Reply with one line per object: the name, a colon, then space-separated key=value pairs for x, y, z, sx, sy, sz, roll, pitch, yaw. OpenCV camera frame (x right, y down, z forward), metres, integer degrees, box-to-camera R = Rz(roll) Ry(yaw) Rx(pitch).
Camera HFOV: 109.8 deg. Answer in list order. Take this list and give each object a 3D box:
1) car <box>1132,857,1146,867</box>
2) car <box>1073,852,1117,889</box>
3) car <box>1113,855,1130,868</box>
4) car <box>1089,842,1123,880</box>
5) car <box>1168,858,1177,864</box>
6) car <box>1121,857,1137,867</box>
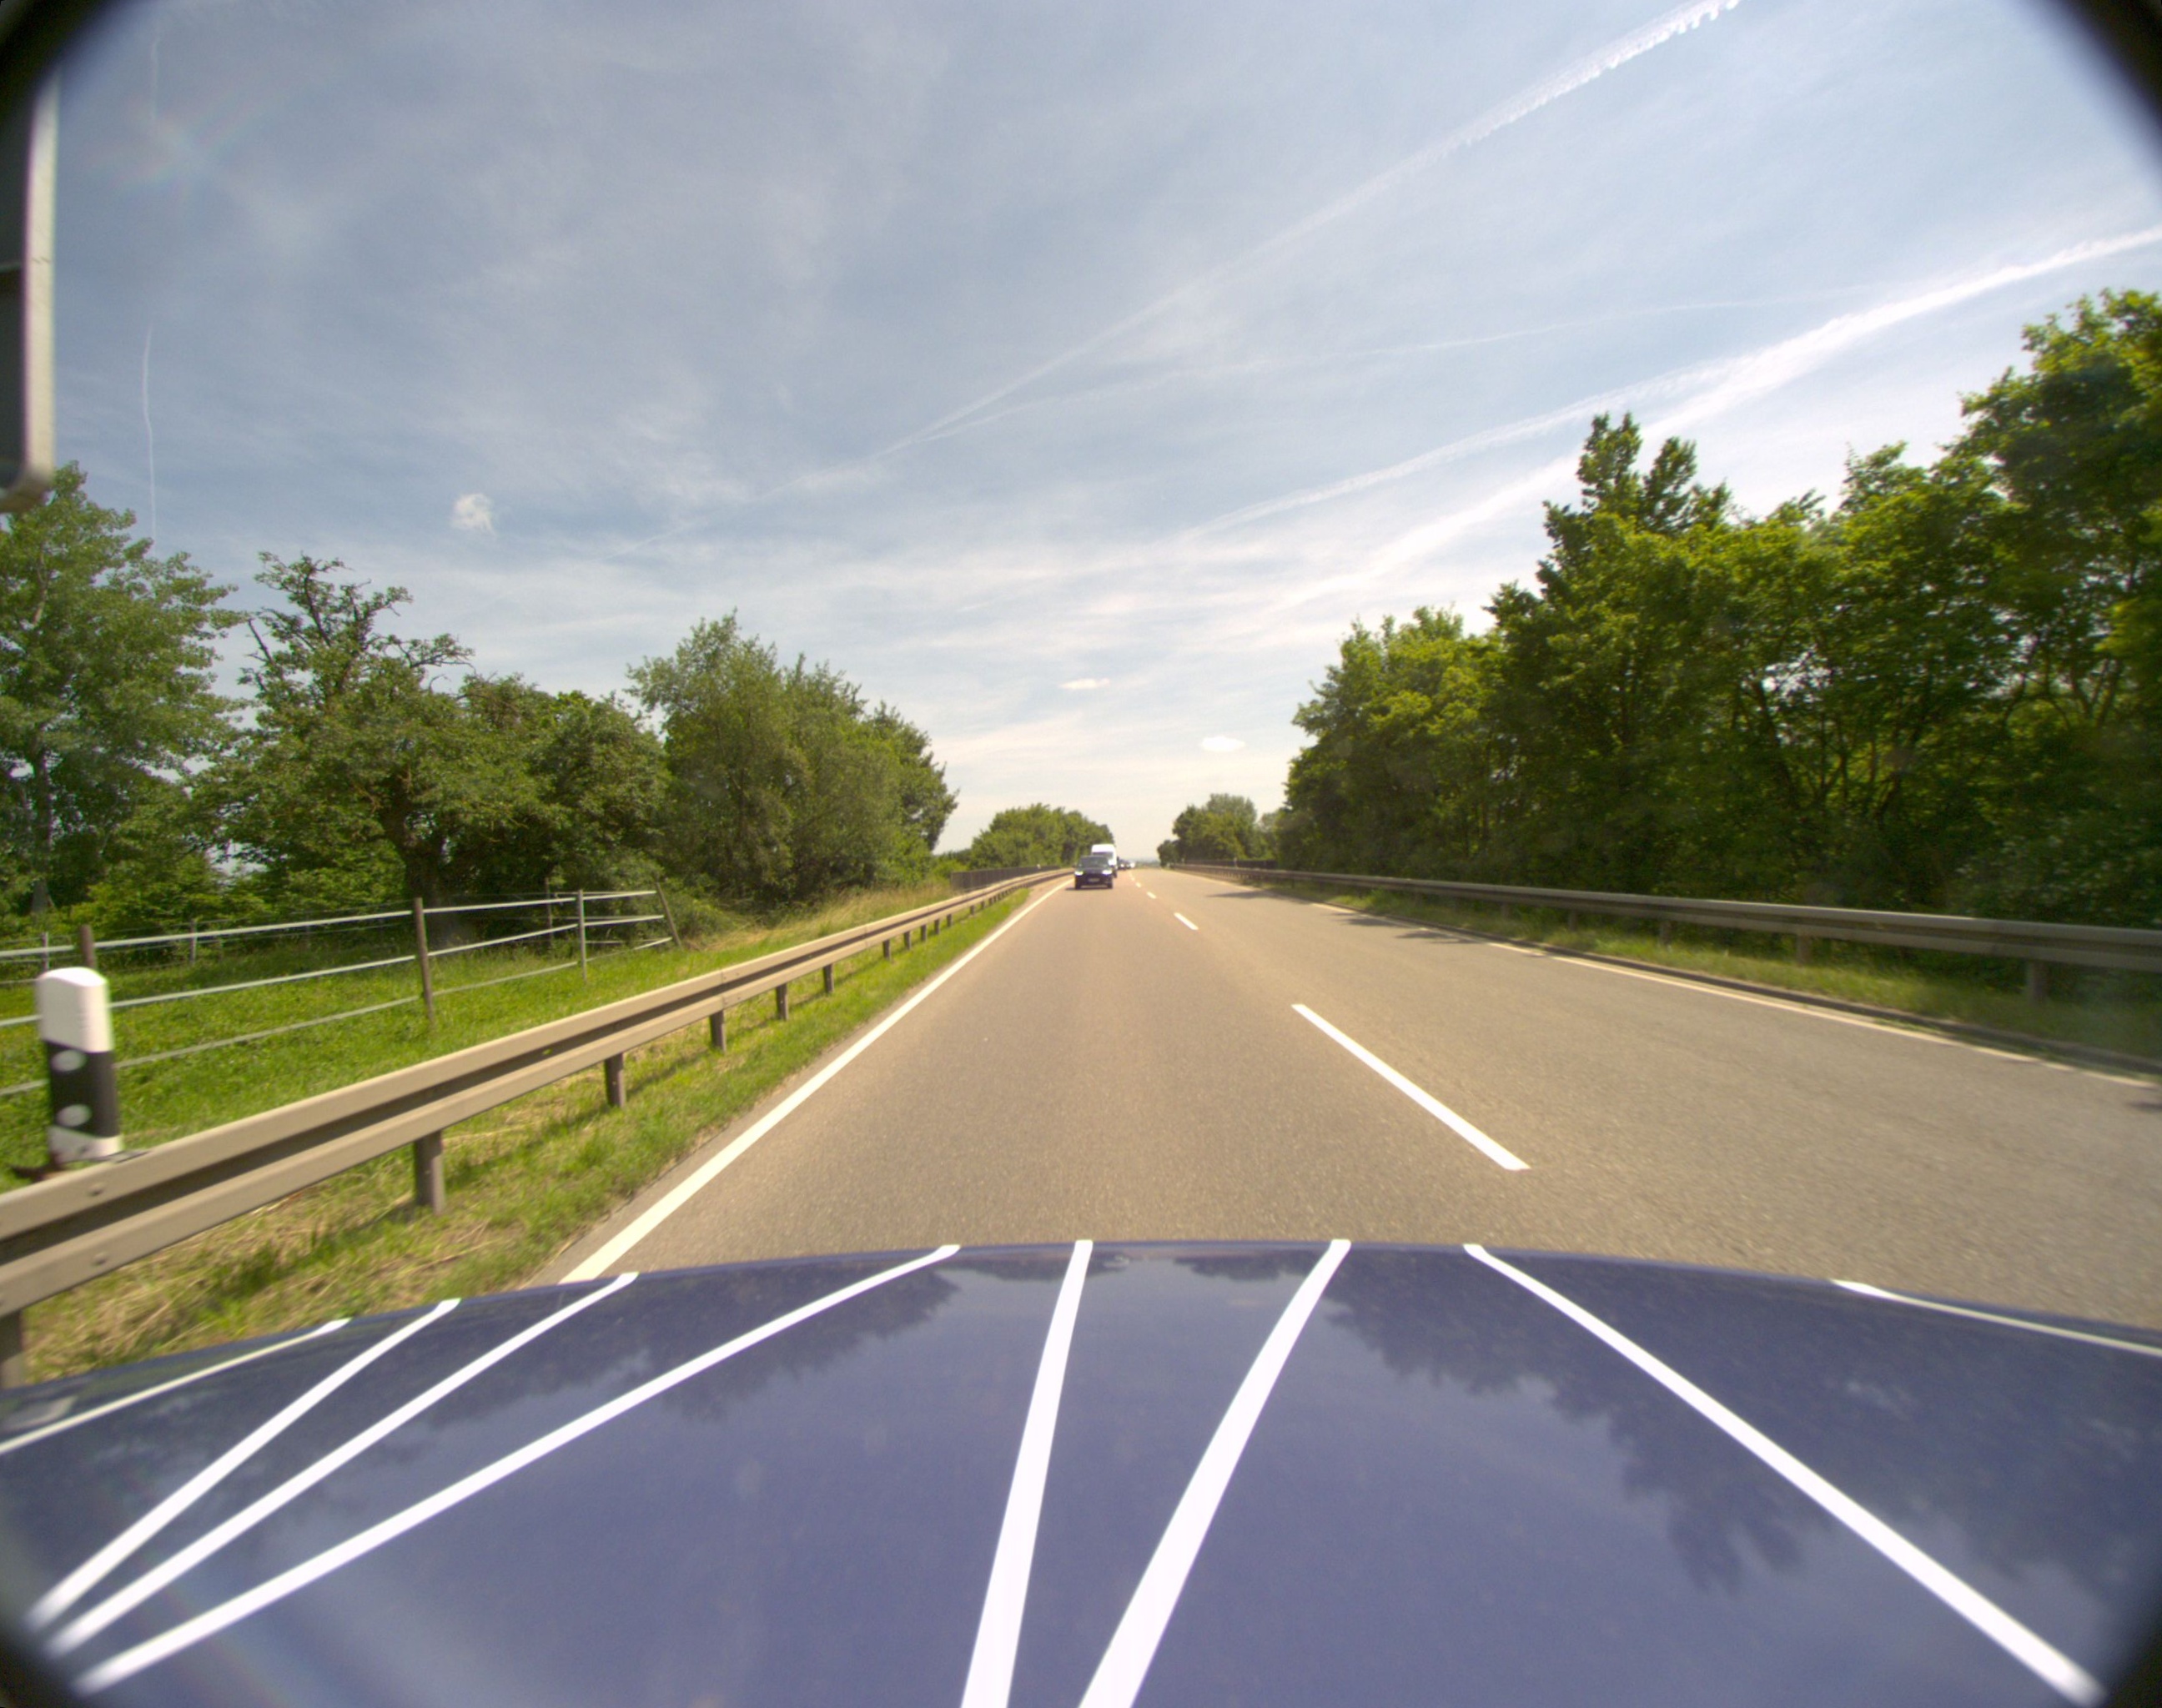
car: x=11.013 y=1.509 z=144.587 sx=2.037 sy=1.641 sz=4.748 roll=-2 pitch=0 yaw=11
car: x=0.787 y=0.773 z=38.852 sx=2.039 sy=1.691 sz=5.513 roll=-1 pitch=0 yaw=3
car: x=5.714 y=1.029 z=106.341 sx=2.038 sy=1.641 sz=4.747 roll=-2 pitch=0 yaw=7
car: x=1.996 y=0.482 z=59.374 sx=2.225 sy=2.617 sz=5.753 roll=-3 pitch=1 yaw=5
car: x=25.160 y=1.965 z=208.484 sx=1.882 sy=1.502 sz=4.548 roll=-2 pitch=0 yaw=12
car: x=7.771 y=1.300 z=123.047 sx=2.038 sy=1.641 sz=4.748 roll=-2 pitch=0 yaw=8
